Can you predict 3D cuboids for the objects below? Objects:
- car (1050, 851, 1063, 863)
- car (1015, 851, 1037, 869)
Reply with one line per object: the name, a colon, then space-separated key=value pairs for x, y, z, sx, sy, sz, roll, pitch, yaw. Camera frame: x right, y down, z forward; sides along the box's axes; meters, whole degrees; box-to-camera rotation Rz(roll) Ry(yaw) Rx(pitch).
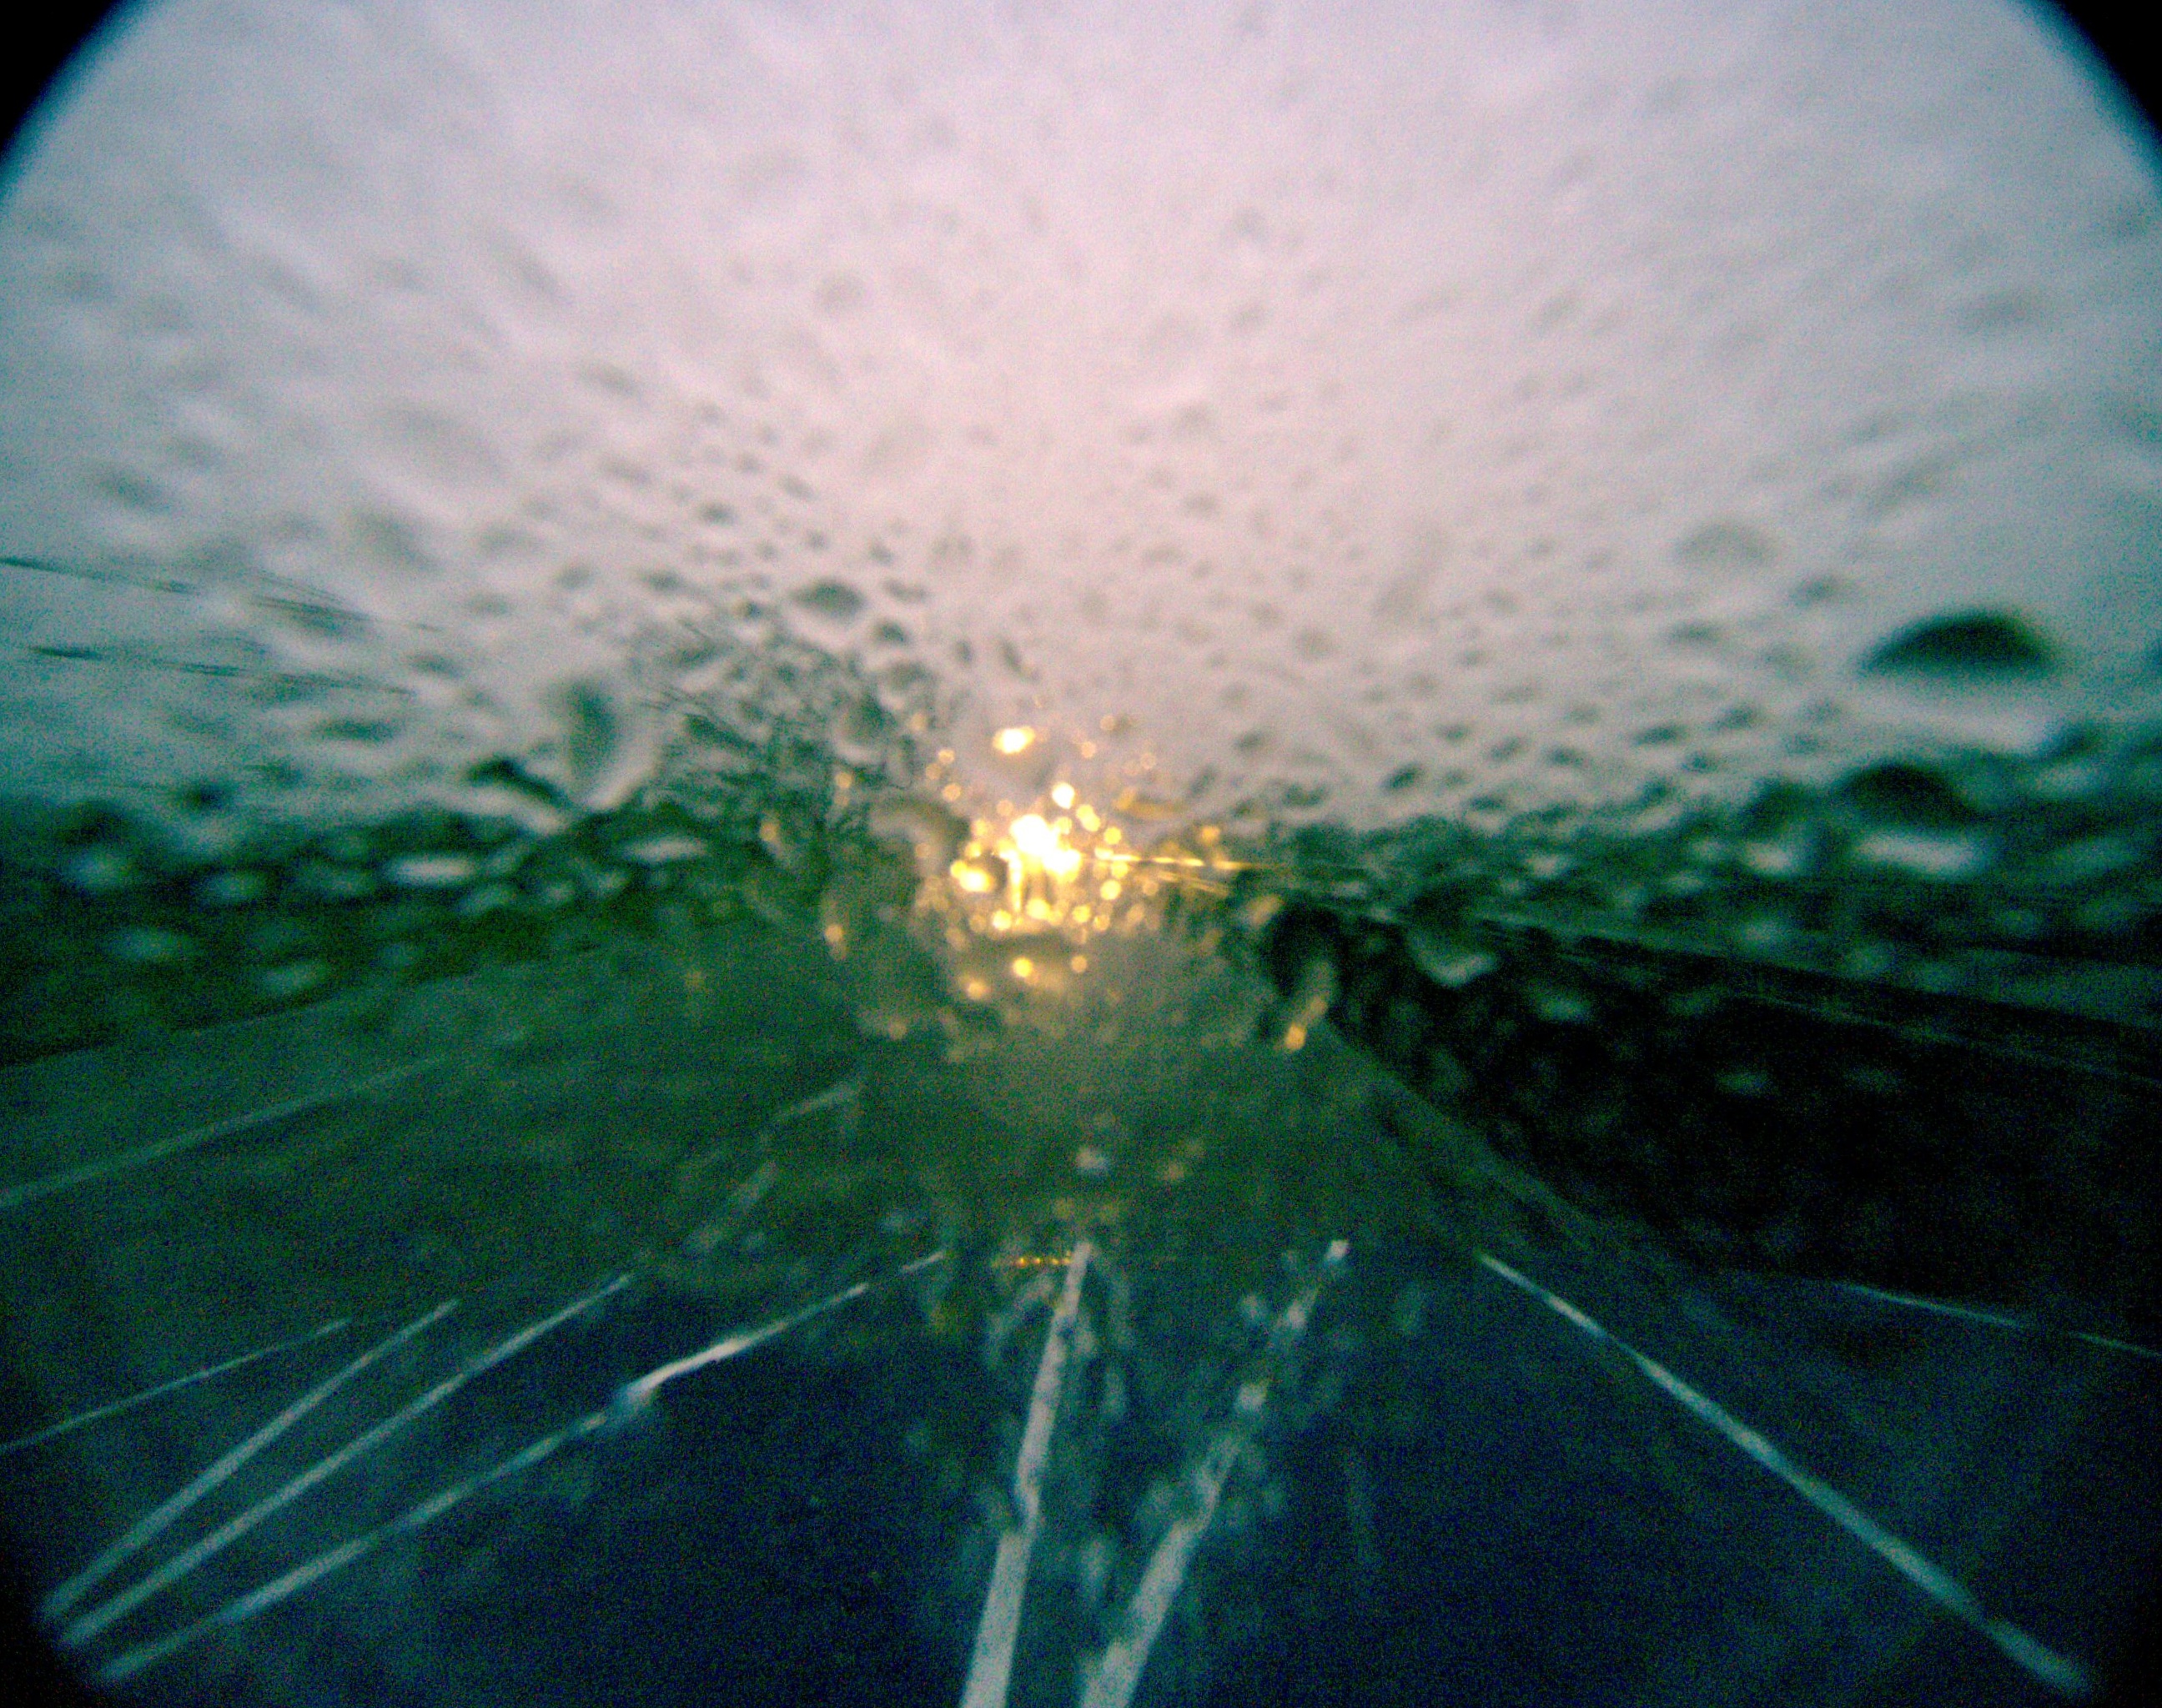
car: x=-3.199 y=0.403 z=99.386 sx=1.632 sy=1.465 sz=3.999 roll=-1 pitch=0 yaw=-3
car: x=-5.053 y=0.586 z=70.196 sx=1.802 sy=1.494 sz=3.999 roll=-4 pitch=0 yaw=-2
